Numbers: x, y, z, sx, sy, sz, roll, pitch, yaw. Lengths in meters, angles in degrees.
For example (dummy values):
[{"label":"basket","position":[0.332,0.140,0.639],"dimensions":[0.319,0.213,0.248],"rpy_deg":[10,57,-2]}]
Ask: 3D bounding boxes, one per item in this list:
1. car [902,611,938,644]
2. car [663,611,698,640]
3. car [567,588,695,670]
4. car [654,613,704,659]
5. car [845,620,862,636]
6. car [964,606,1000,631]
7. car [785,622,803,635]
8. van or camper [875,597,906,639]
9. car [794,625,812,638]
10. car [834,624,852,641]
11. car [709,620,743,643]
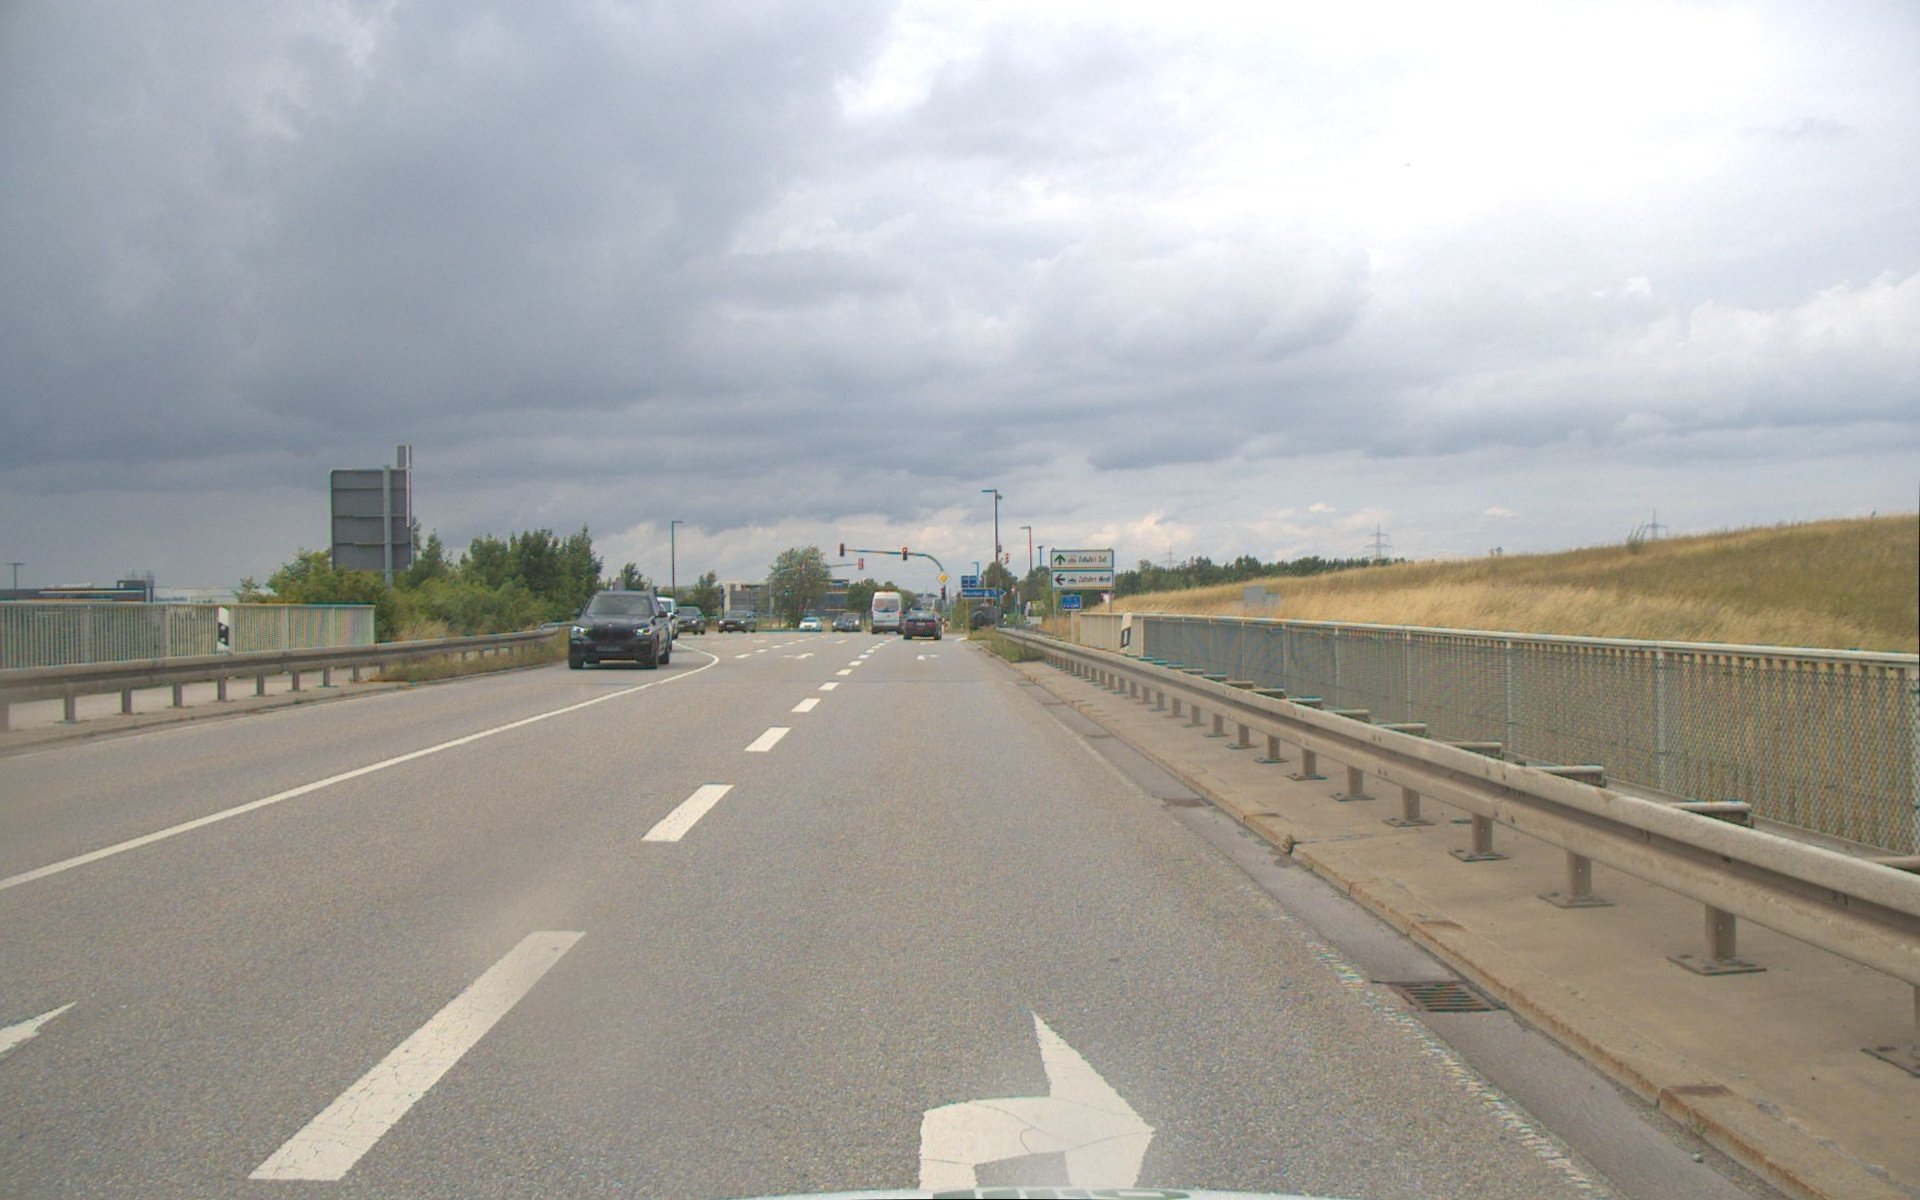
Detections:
[{"label":"car","position":[-1.860,1.265,77.656],"dimensions":[1.486,1.511,3.616],"rpy_deg":[0,-1,2]},{"label":"car","position":[-15.470,1.405,91.721],"dimensions":[1.552,1.585,4.141],"rpy_deg":[1,-1,-5]},{"label":"car","position":[-7.568,0.665,38.539],"dimensions":[1.952,1.762,4.762],"rpy_deg":[1,-1,1]},{"label":"car","position":[-12.229,1.549,72.203],"dimensions":[1.917,1.907,4.812],"rpy_deg":[1,-1,-8]},{"label":"car","position":[-10.773,2.844,168.025],"dimensions":[1.659,1.392,3.942],"rpy_deg":[0,3,-3]},{"label":"car","position":[1.471,1.208,108.503],"dimensions":[1.646,1.571,3.618],"rpy_deg":[-1,-1,13]},{"label":"car","position":[-17.217,2.960,171.684],"dimensions":[1.450,1.305,3.533],"rpy_deg":[0,-1,0]},{"label":"van or camper","position":[-4.387,1.143,104.906],"dimensions":[1.838,2.626,3.999],"rpy_deg":[1,-1,-1]},{"label":"car","position":[-15.557,3.132,164.083],"dimensions":[1.450,1.305,3.533],"rpy_deg":[0,-1,0]},{"label":"car","position":[-11.244,3.104,158.652],"dimensions":[1.659,1.392,3.942],"rpy_deg":[0,3,-3]},{"label":"car","position":[-15.309,2.042,108.305],"dimensions":[1.772,1.392,4.782],"rpy_deg":[0,0,-3]}]
